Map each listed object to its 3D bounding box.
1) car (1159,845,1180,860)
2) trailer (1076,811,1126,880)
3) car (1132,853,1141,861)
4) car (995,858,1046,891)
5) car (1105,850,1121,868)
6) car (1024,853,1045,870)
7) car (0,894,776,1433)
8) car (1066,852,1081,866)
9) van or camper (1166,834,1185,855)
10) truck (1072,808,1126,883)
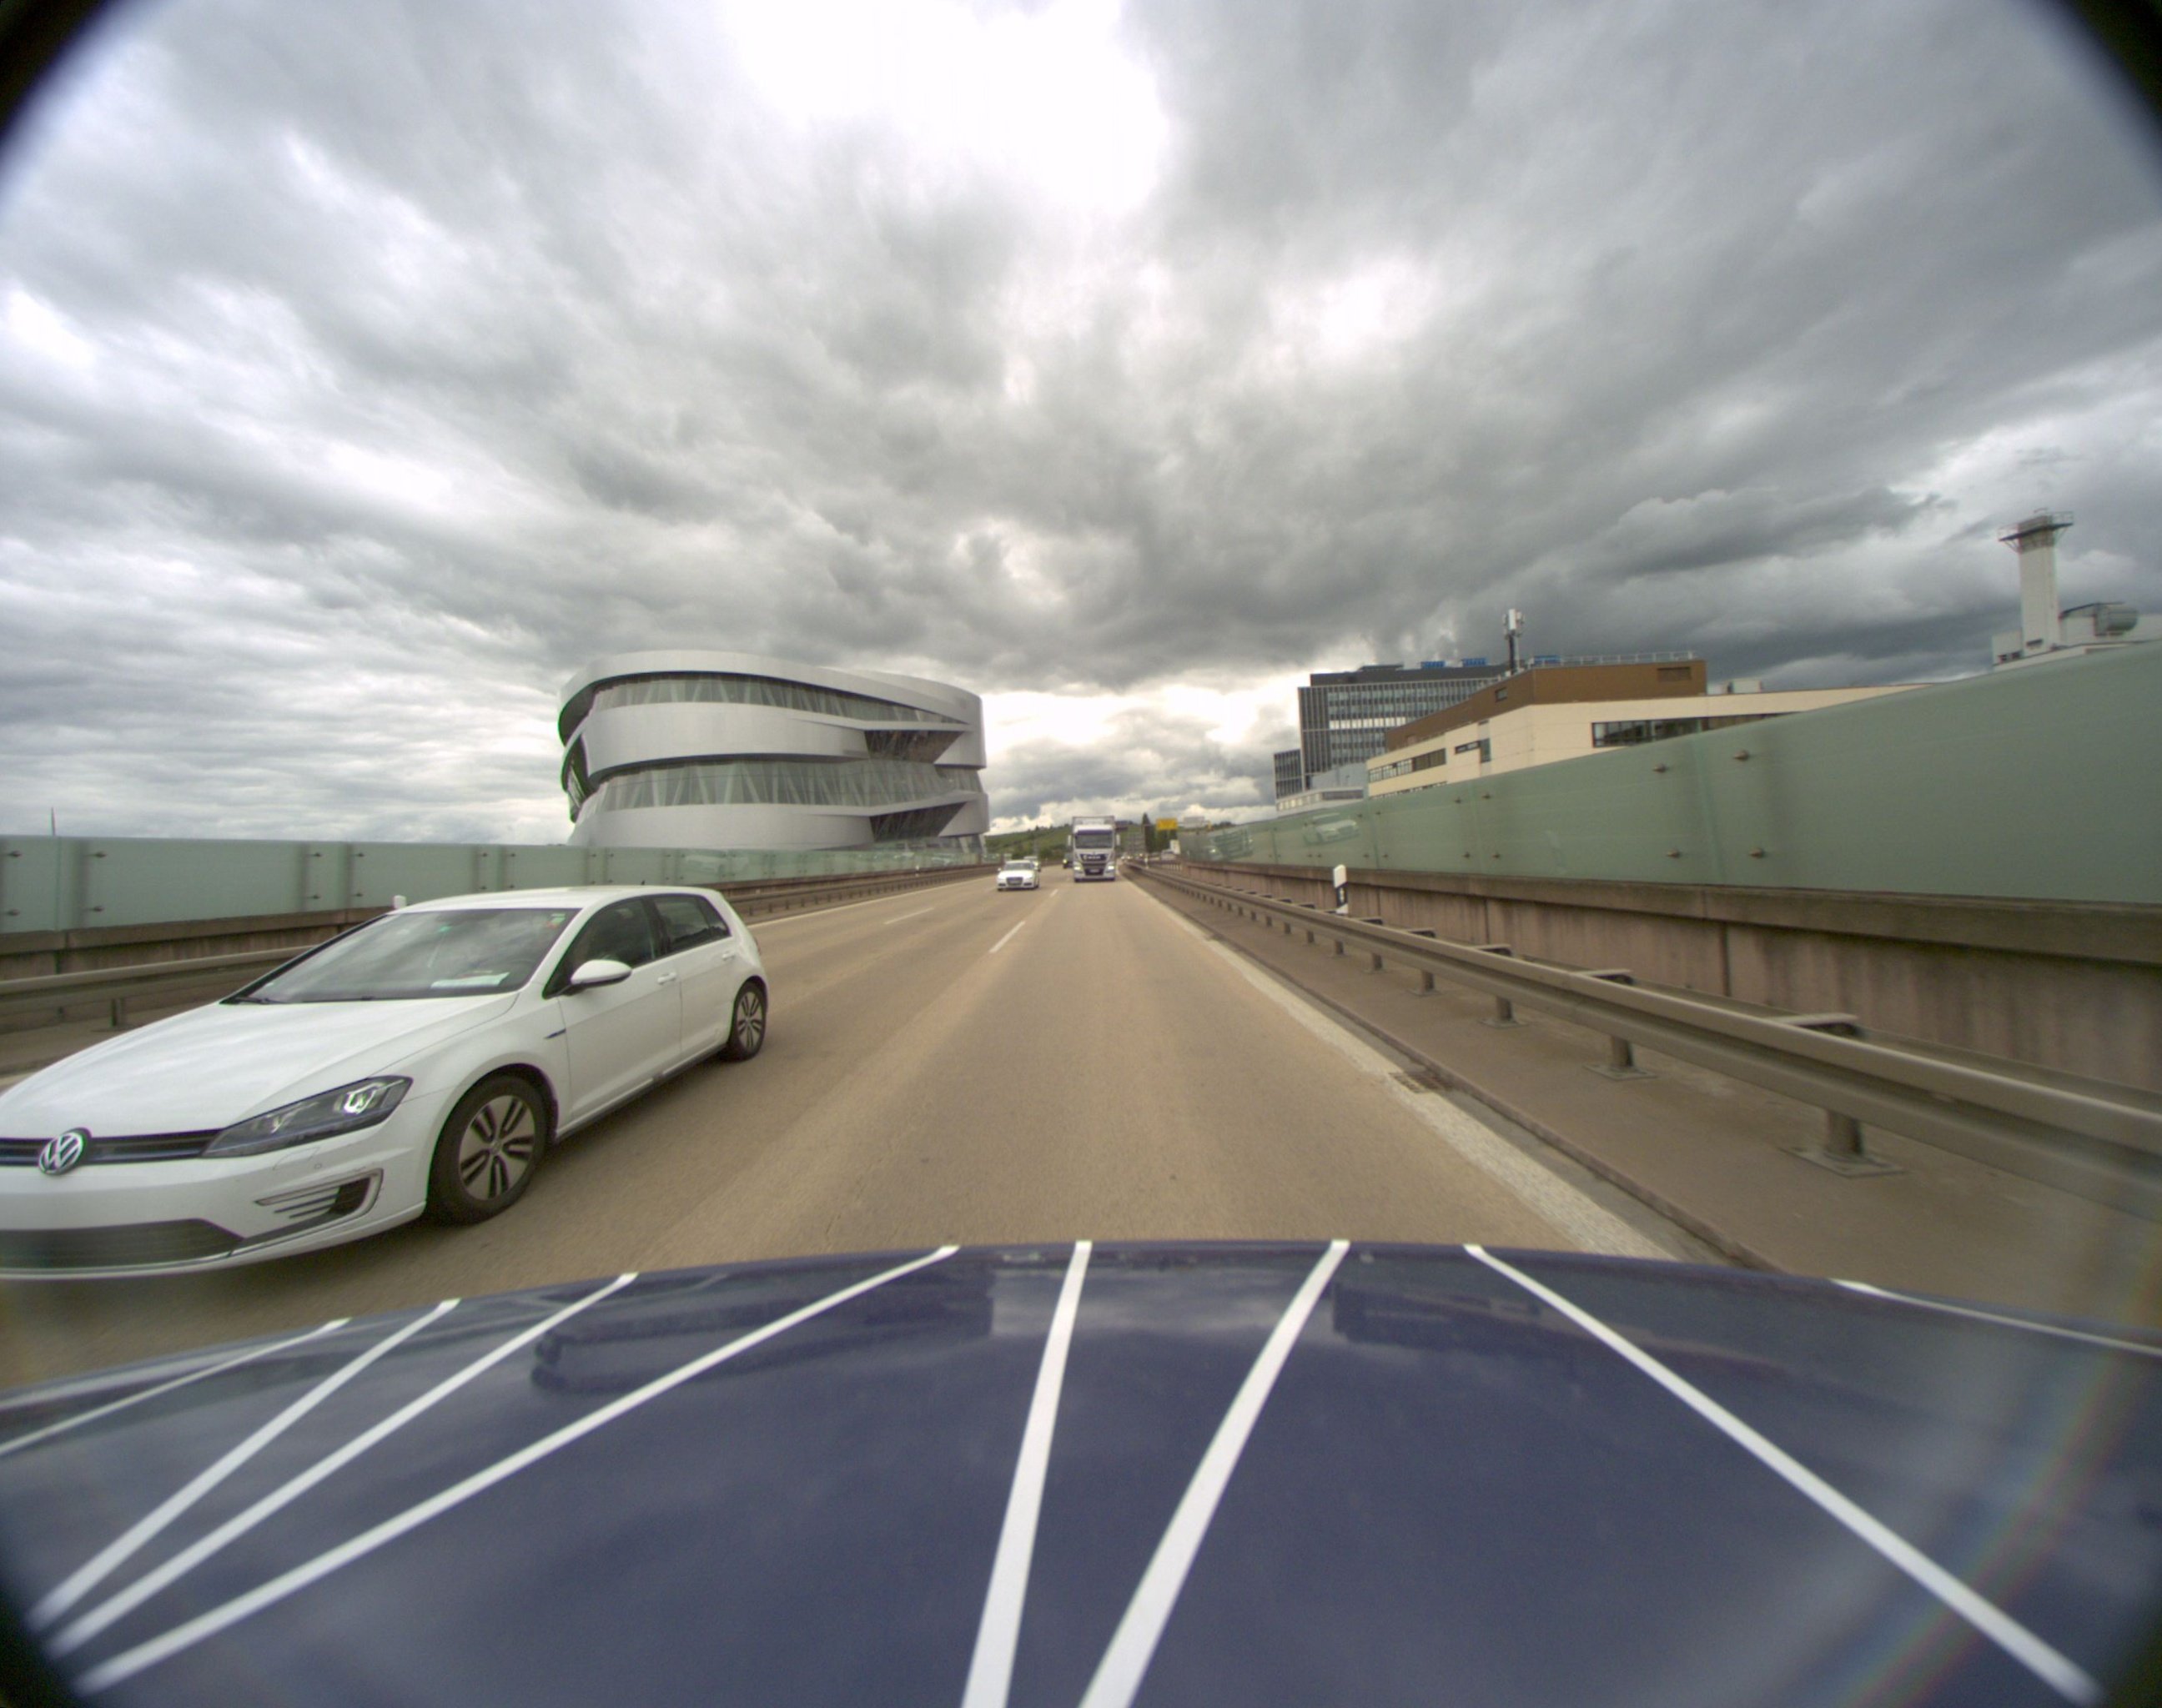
[{"bbox_3d":[10.423,-0.195,89.602,1.849,1.663,4.407,-2,0,0],"label":"car"},{"bbox_3d":[1.445,-0.549,51.696,2.879,4.104,11.221,-2,0,3],"label":"trailer"},{"bbox_3d":[14.216,0.750,193.396,1.998,2.002,4.000,-2,1,0],"label":"car"},{"bbox_3d":[-2.871,0.962,36.904,1.847,1.443,3.933,-2,0,4],"label":"car"},{"bbox_3d":[4.526,0.693,108.483,2.144,2.494,4.524,-2,1,2],"label":"car"},{"bbox_3d":[-4.799,0.739,78.743,1.785,1.624,3.628,-2,1,2],"label":"car"},{"bbox_3d":[-3.495,1.080,4.387,1.759,1.443,4.072,-1,0,1],"label":"car"},{"bbox_3d":[-0.920,0.636,97.333,1.765,1.624,3.628,-2,1,2],"label":"car"},{"bbox_3d":[16.167,-1.571,130.082,2.411,3.368,6.954,-2,1,0],"label":"van or camper"},{"bbox_3d":[1.184,-0.475,46.165,2.945,4.136,6.292,-2,0,3],"label":"truck"}]
